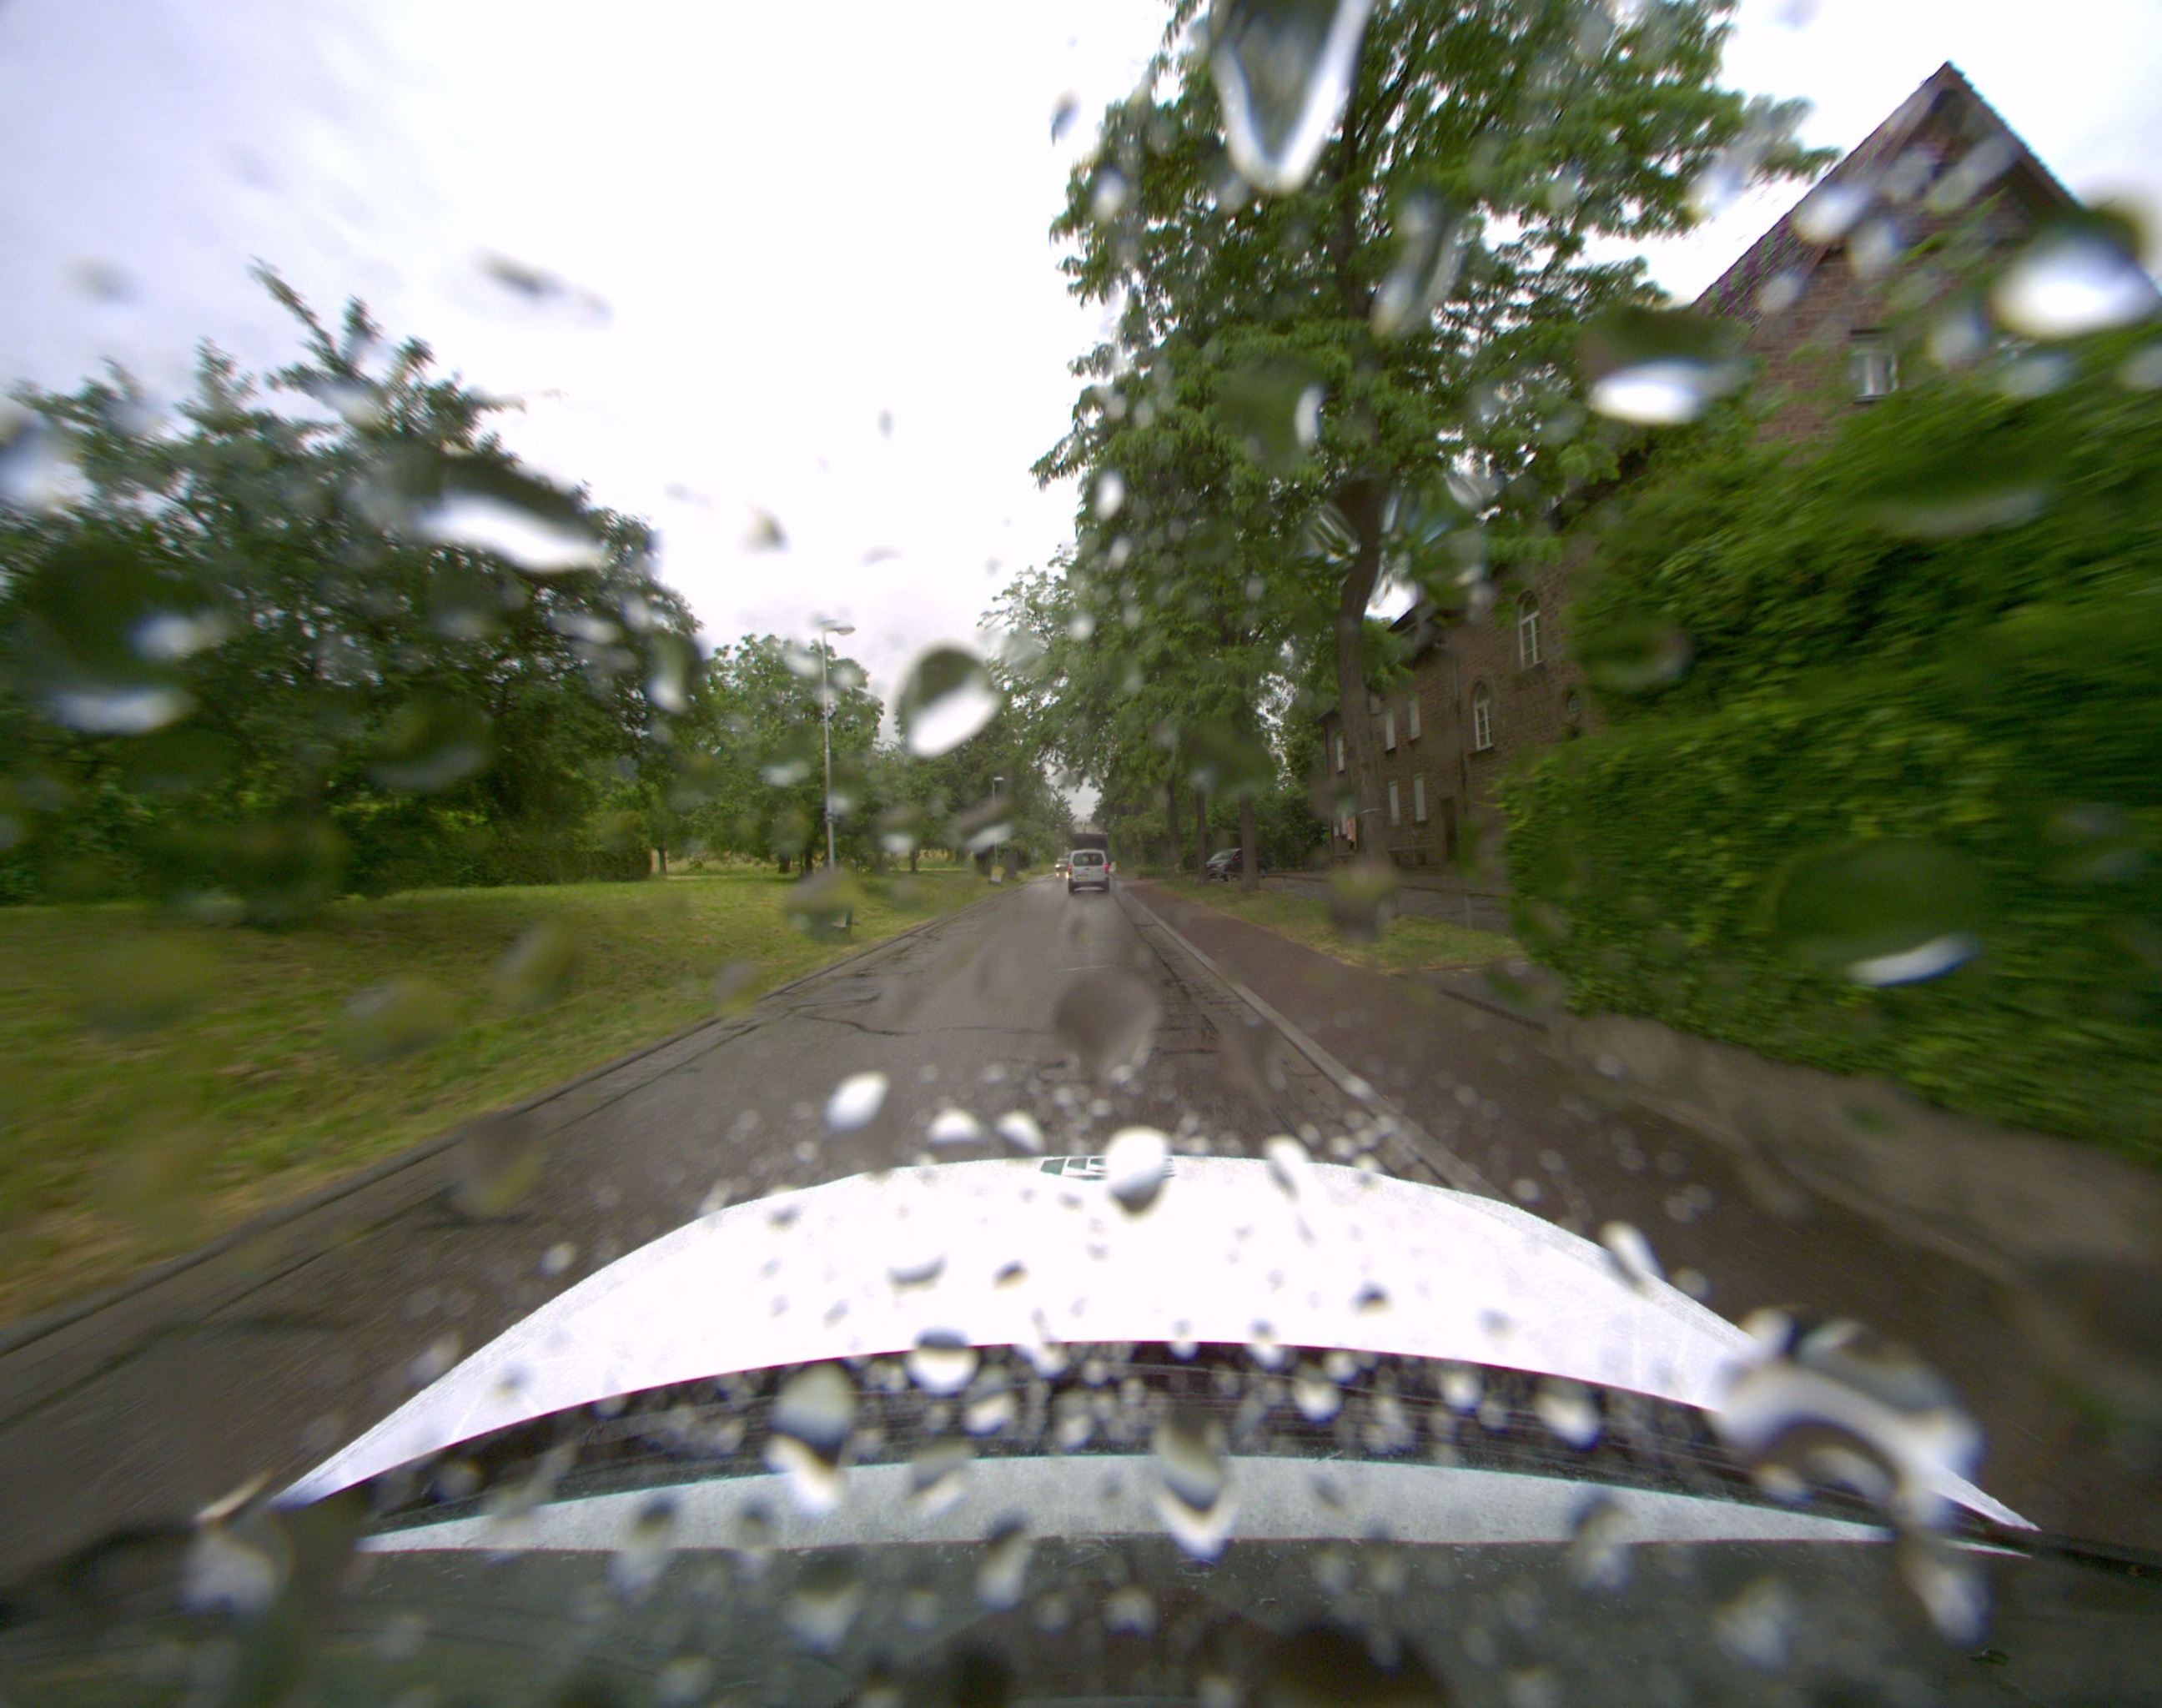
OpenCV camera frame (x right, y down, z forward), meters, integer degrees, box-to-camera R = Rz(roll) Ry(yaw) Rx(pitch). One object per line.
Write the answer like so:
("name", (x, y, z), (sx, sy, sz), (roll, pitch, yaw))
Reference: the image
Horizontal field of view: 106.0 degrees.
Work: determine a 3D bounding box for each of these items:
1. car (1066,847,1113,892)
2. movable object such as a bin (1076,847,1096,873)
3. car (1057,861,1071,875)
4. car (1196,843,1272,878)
("car", (0.419, 0.661, 36.218), (1.890, 1.807, 4.001), (-3, 0, 1))
("movable object such as a bin", (0.527, 0.623, 82.453), (1.754, 2.548, 4.242), (-1, -1, 3))
("car", (-2.375, 1.972, 112.267), (1.818, 1.832, 4.305), (-1, -1, -1))
("car", (7.542, 0.324, 40.031), (3.629, 1.551, 1.604), (-2, -2, -36))
